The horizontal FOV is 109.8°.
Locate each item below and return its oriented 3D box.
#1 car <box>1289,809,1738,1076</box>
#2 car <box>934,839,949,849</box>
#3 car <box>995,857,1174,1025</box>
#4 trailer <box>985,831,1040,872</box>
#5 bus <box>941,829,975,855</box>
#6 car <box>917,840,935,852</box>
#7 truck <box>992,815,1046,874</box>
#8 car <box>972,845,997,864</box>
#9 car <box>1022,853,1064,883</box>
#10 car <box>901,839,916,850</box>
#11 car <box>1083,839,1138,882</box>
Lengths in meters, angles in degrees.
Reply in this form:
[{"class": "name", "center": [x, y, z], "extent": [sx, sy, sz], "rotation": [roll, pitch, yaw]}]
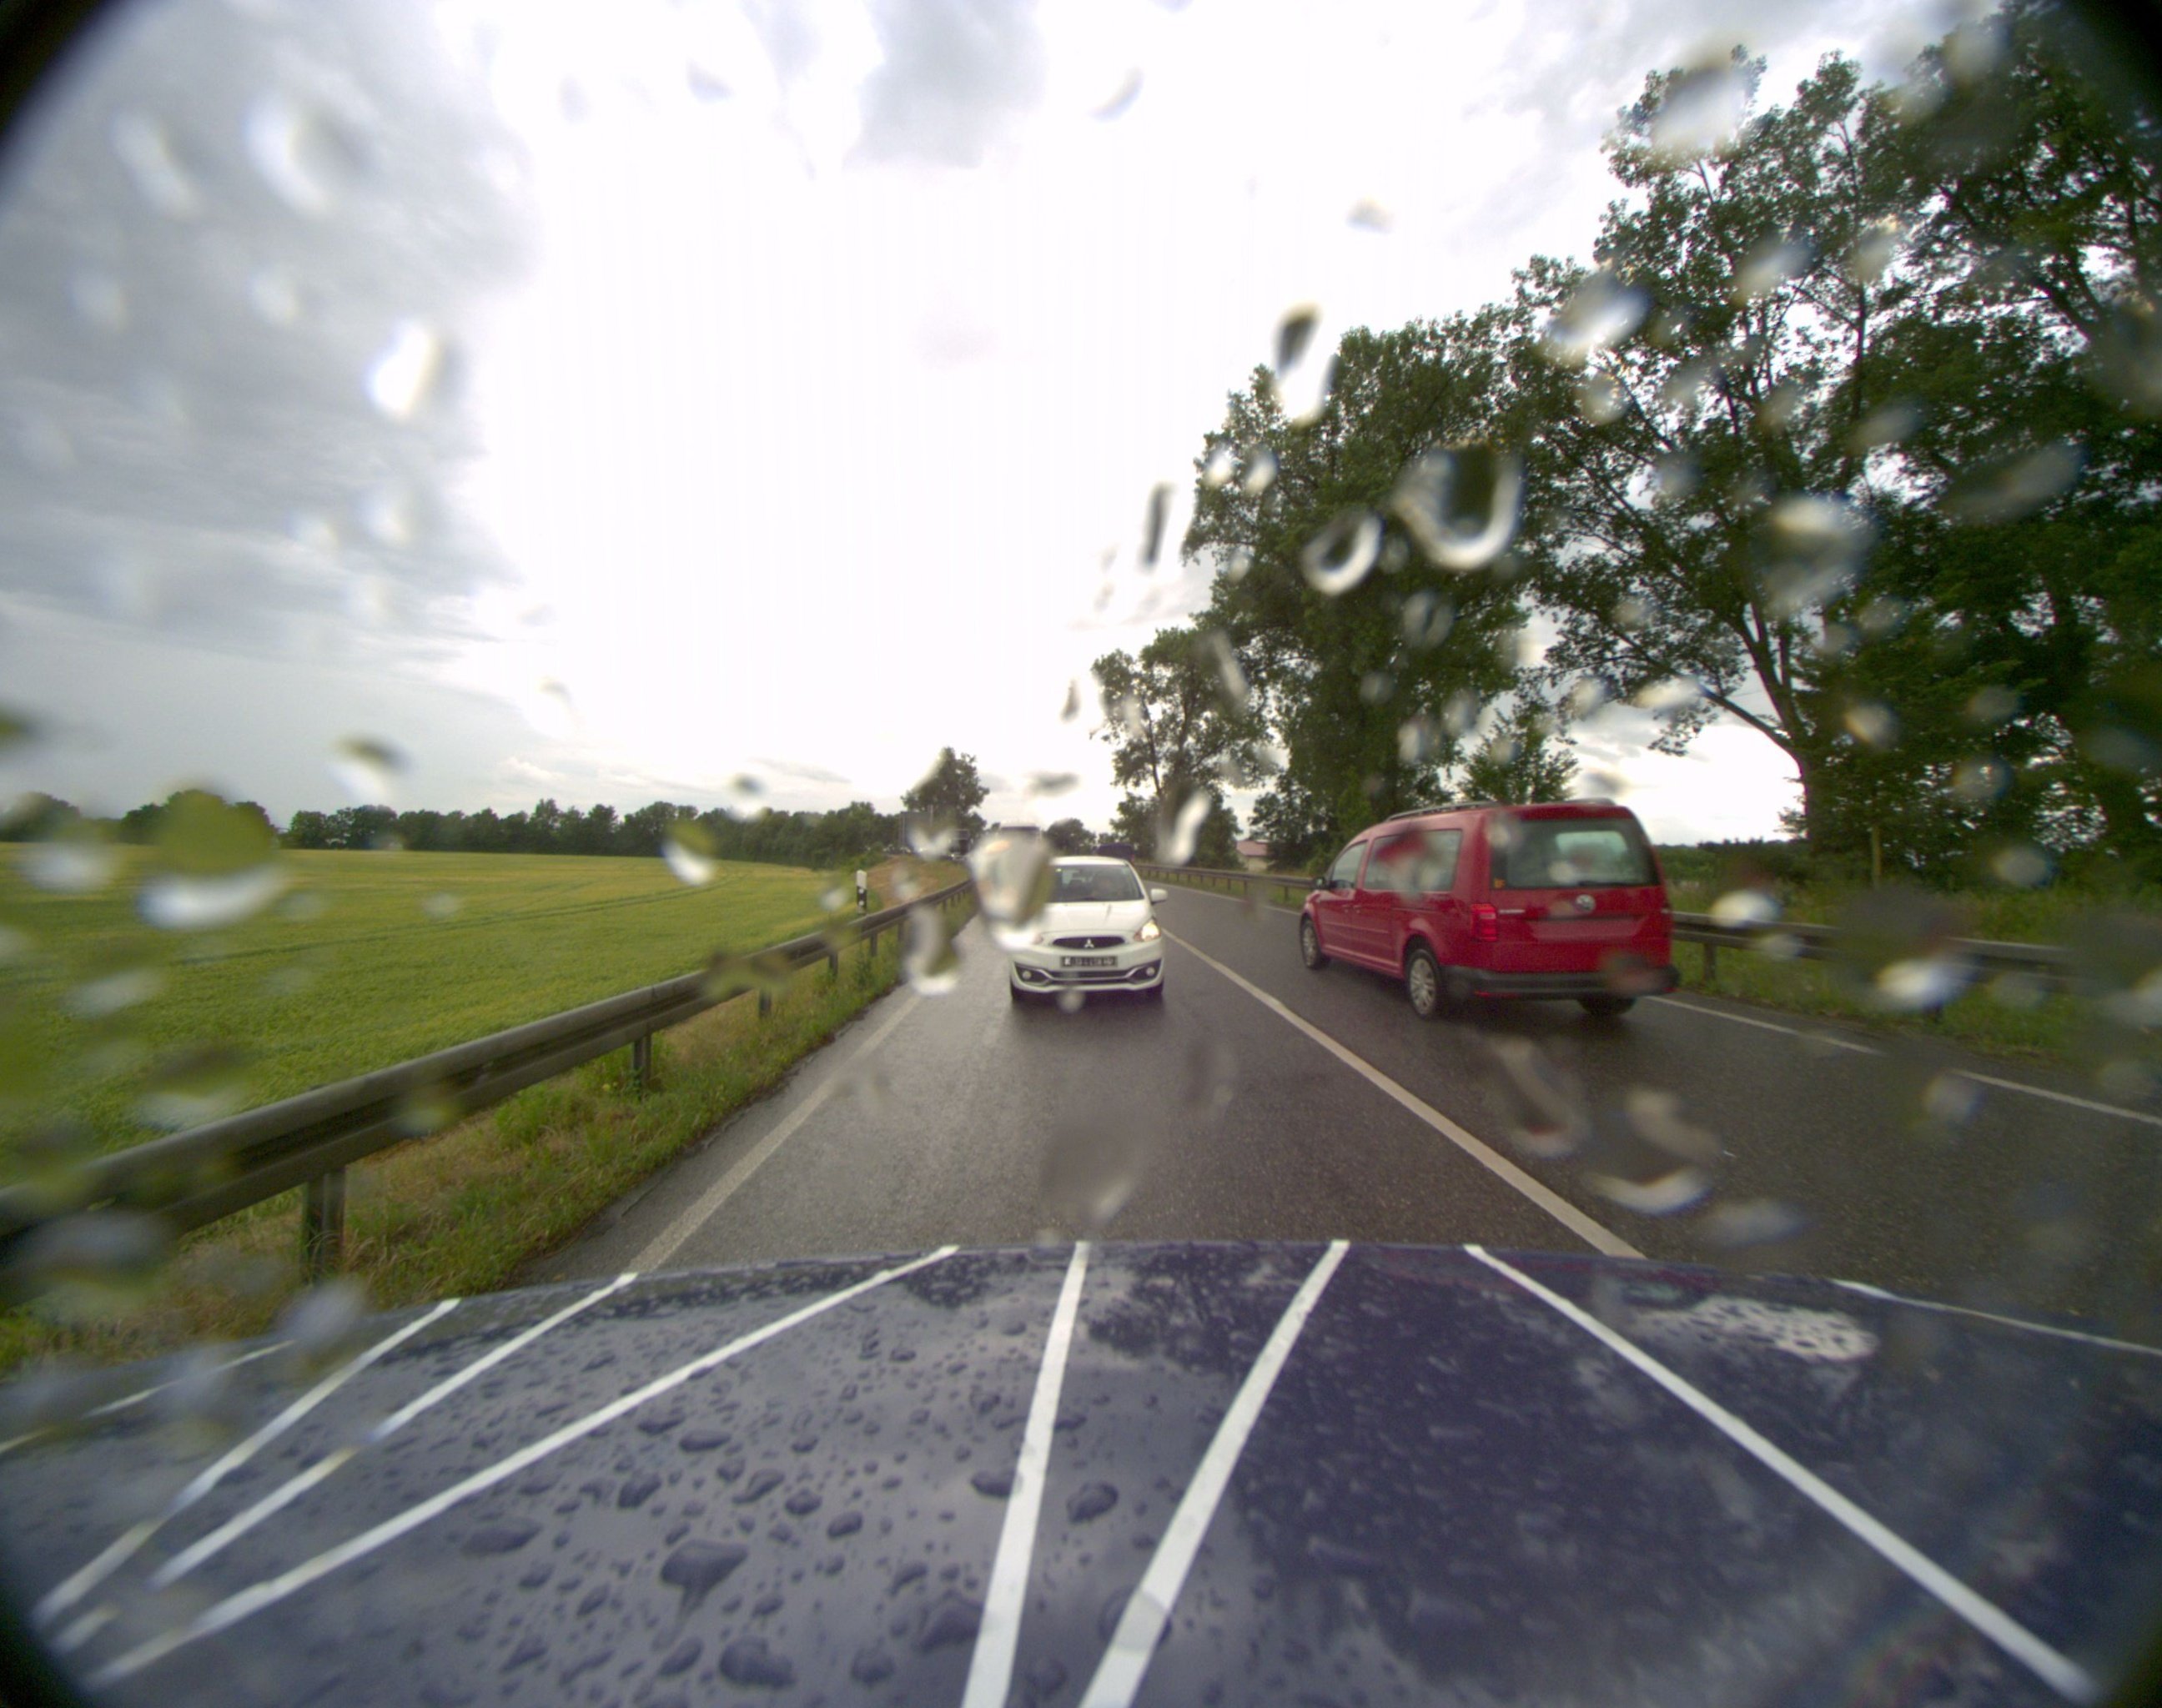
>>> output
[{"class": "car", "center": [3.696, 0.613, 7.644], "extent": [1.806, 1.840, 4.519], "rotation": [-2, 0, -2]}, {"class": "car", "center": [-22.560, -1.606, 122.814], "extent": [1.816, 1.569, 3.994], "rotation": [-2, 1, -17]}, {"class": "car", "center": [-0.036, 0.836, 9.228], "extent": [1.653, 1.461, 4.028], "rotation": [-2, 1, -2]}, {"class": "trailer", "center": [-5.597, -0.253, 59.157], "extent": [2.986, 2.618, 15.666], "rotation": [-2, 1, -9]}, {"class": "bus", "center": [-17.088, -1.720, 104.614], "extent": [2.967, 3.294, 14.814], "rotation": [-2, 2, -16]}, {"class": "car", "center": [-27.879, -1.364, 136.835], "extent": [2.002, 2.002, 5.325], "rotation": [-2, 1, -24]}, {"class": "truck", "center": [-4.219, -0.656, 50.687], "extent": [2.986, 3.589, 6.074], "rotation": [-2, 1, -9]}, {"class": "car", "center": [-9.946, 0.032, 78.226], "extent": [2.044, 1.832, 5.329], "rotation": [-2, 1, -12]}, {"class": "car", "center": [-2.032, 0.686, 39.480], "extent": [1.782, 1.380, 4.325], "rotation": [-2, 1, -7]}, {"class": "car", "center": [-35.610, -1.931, 156.541], "extent": [2.002, 2.002, 4.223], "rotation": [-2, 1, -26]}, {"class": "car", "center": [1.435, 0.280, 38.663], "extent": [1.968, 2.002, 4.856], "rotation": [-2, 1, -7]}]
